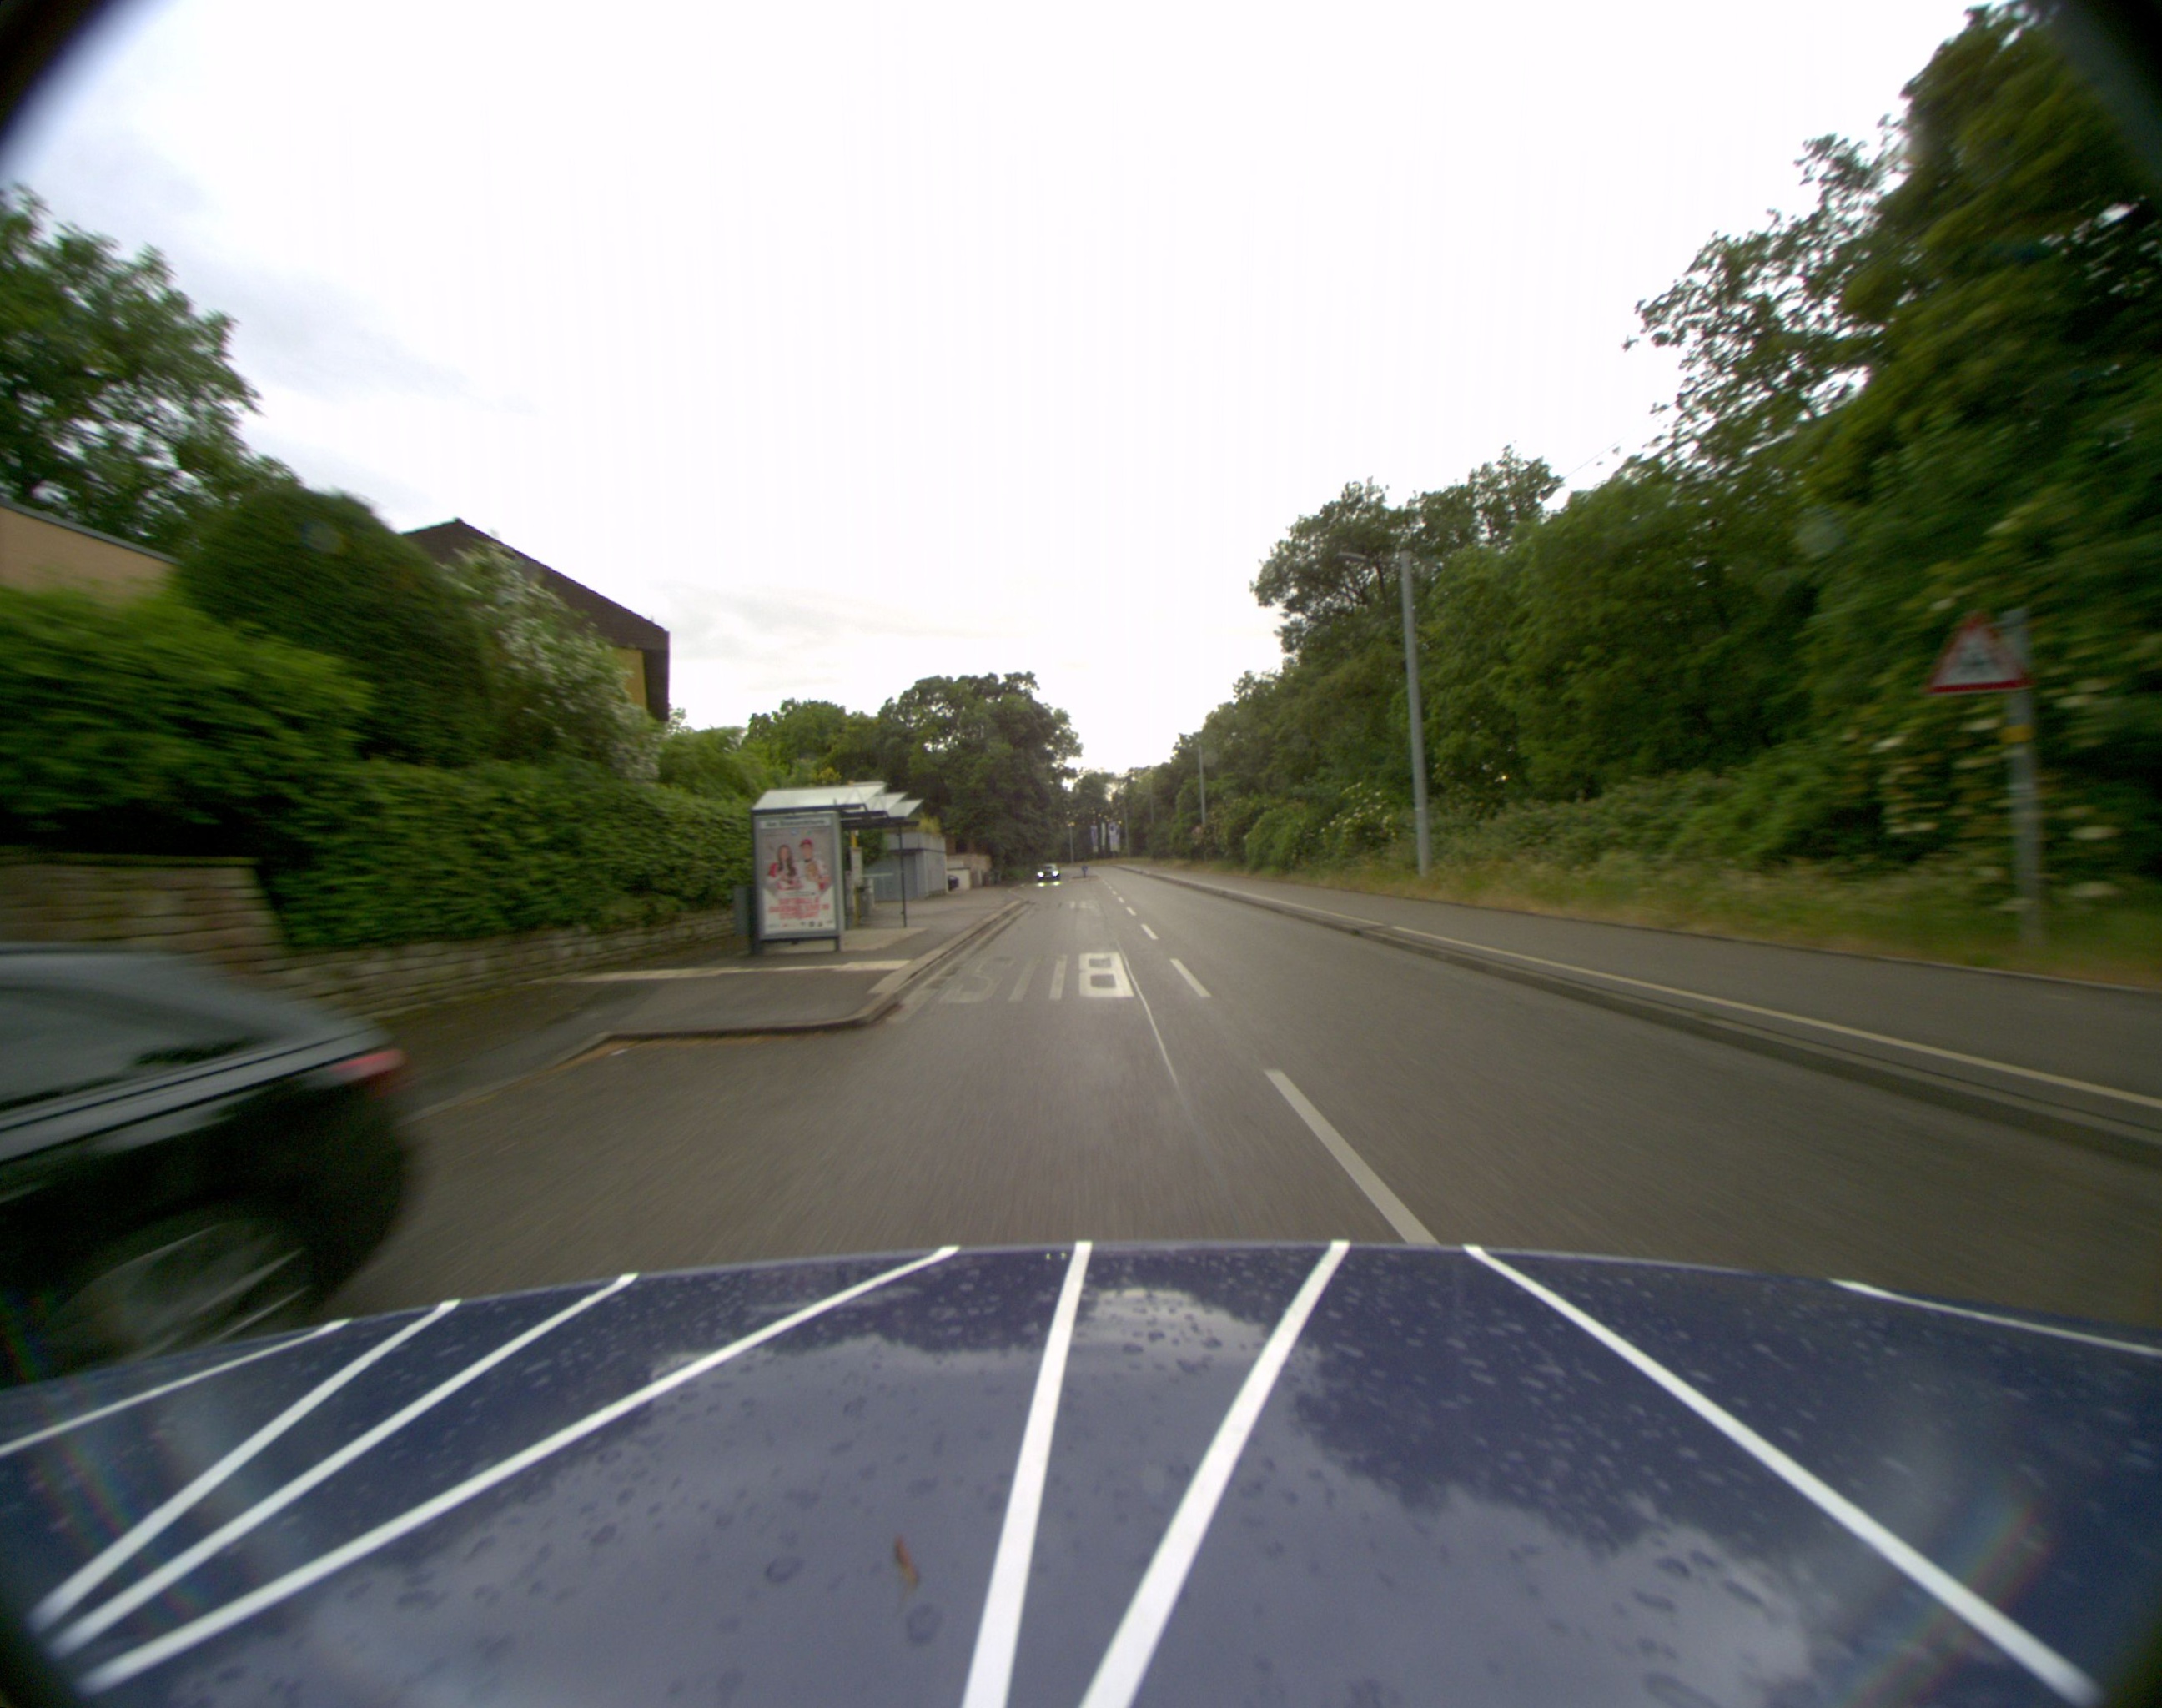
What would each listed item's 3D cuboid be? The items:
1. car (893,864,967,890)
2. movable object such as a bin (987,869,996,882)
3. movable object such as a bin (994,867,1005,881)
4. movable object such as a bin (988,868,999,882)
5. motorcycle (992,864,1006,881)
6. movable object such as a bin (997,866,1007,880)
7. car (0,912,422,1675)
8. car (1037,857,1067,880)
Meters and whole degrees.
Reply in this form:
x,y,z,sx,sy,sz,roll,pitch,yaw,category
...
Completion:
x,y,z,sx,sy,sz,roll,pitch,yaw,category
-9.444,1.425,47.650,4.228,1.498,1.895,-2,0,0,car
-6.611,1.592,56.076,0.570,0.931,0.549,-4,0,1,movable object such as a bin
-6.428,1.551,59.970,0.666,1.062,0.659,-4,0,1,movable object such as a bin
-6.539,1.542,56.817,0.666,0.999,0.659,-4,0,1,movable object such as a bin
-6.301,1.428,58.412,0.777,1.237,2.013,-4,0,1,motorcycle
-6.485,1.556,62.147,0.666,1.062,0.701,-4,0,1,movable object such as a bin
-3.235,1.040,0.334,1.835,1.538,4.628,-2,1,-1,car
-2.338,1.133,61.920,1.998,1.714,4.001,-1,0,3,car
